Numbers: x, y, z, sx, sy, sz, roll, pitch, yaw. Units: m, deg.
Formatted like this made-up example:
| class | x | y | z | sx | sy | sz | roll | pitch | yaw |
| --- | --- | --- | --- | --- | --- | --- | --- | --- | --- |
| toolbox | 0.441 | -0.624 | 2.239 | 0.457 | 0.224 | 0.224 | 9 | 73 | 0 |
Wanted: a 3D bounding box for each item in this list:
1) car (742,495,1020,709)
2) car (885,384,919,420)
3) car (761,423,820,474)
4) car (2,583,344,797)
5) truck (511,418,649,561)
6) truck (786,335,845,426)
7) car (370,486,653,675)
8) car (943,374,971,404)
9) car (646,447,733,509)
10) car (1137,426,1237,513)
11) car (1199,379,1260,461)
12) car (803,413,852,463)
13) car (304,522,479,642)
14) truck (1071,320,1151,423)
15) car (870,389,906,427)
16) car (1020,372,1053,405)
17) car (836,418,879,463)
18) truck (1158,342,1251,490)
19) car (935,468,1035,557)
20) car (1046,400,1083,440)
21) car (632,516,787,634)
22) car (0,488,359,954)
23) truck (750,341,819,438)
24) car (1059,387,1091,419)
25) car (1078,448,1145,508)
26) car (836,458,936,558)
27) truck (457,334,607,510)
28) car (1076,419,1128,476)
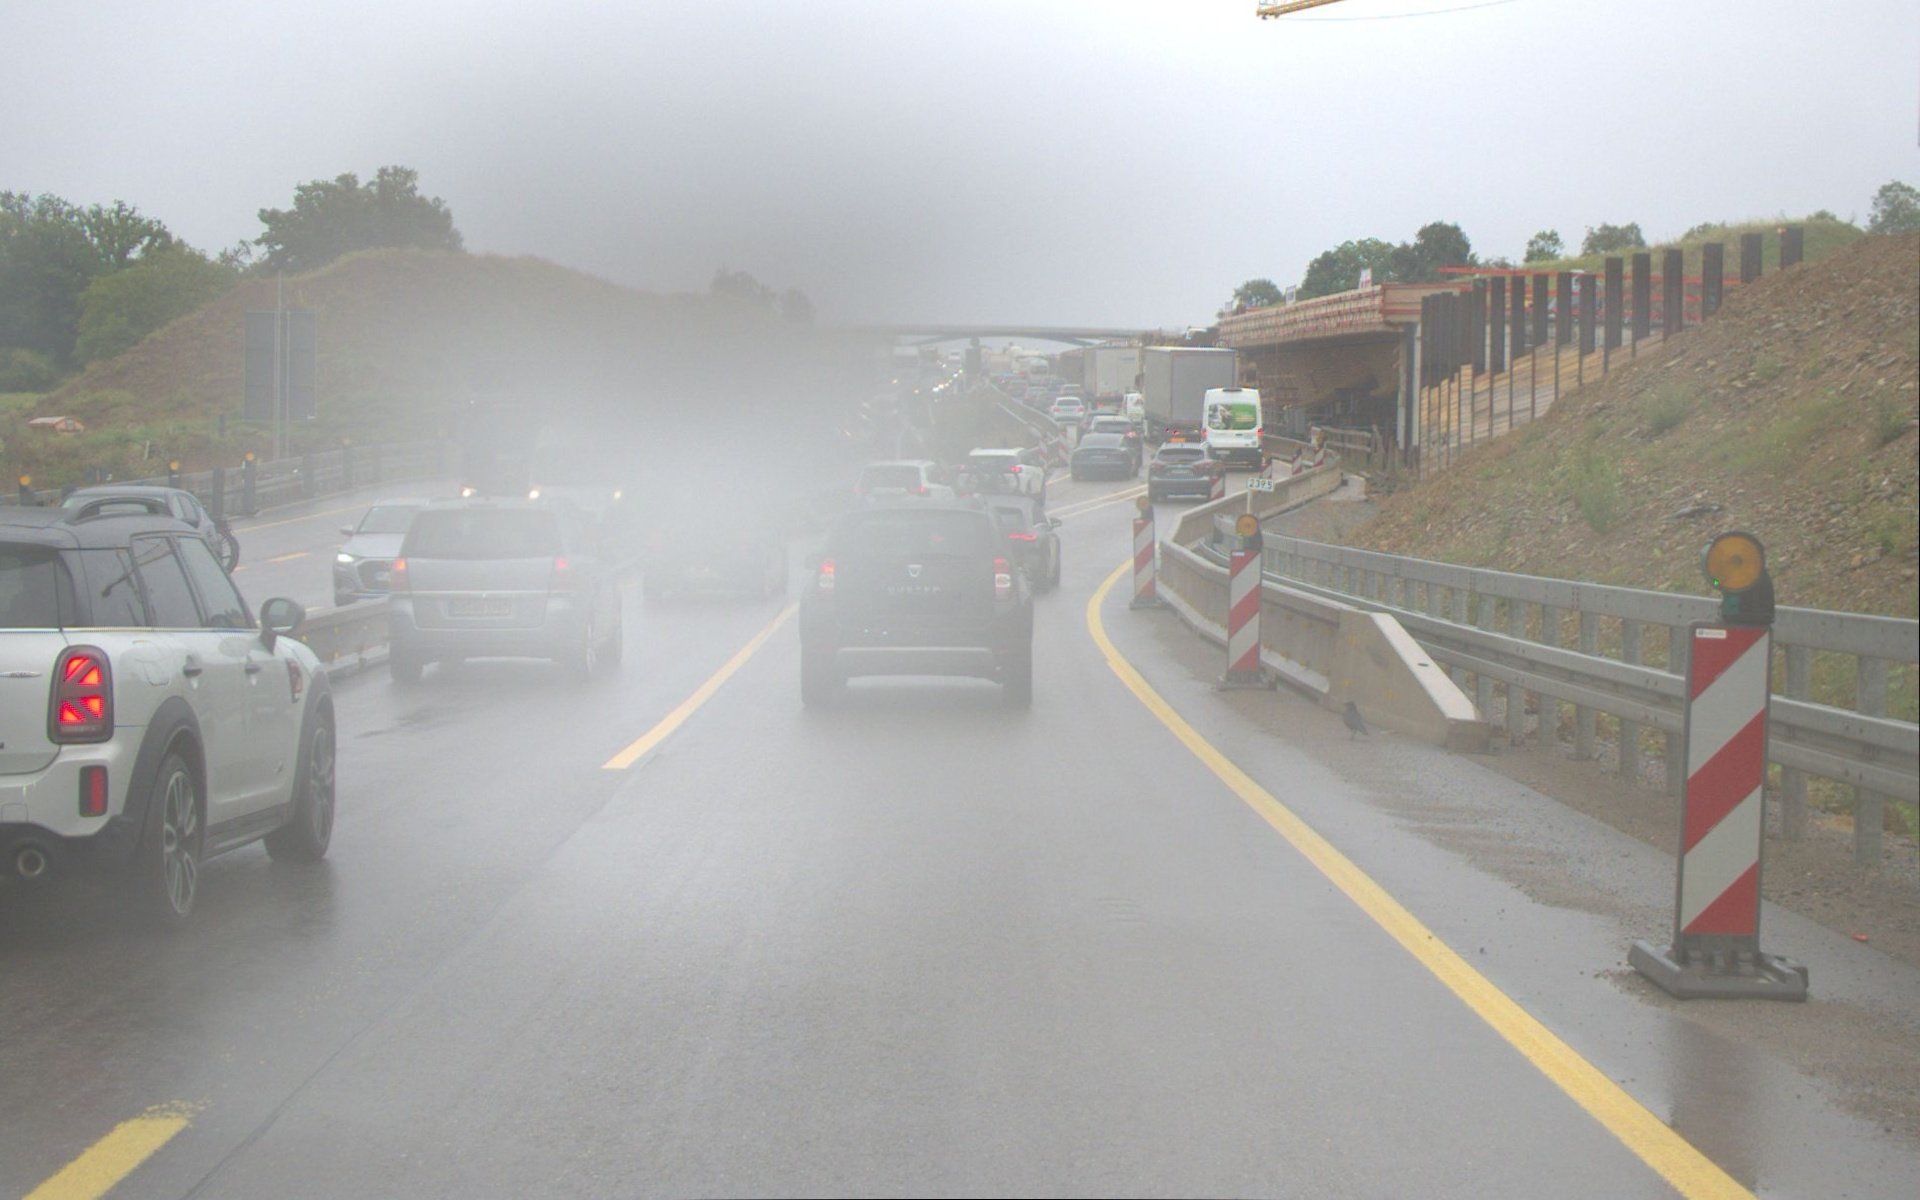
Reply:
| class | x | y | z | sx | sy | sz | roll | pitch | yaw |
| --- | --- | --- | --- | --- | --- | --- | --- | --- | --- |
| car | -0.578 | 0.009 | 27.888 | 2.081 | 1.595 | 4.140 | 0 | 0 | 0 |
| car | -4.094 | -13.995 | 243.081 | 2.217 | 2.362 | 4.664 | 1 | 2 | 1 |
| car | -5.774 | -5.178 | 117.546 | 1.737 | 1.678 | 5.552 | 1 | 2 | 0 |
| car | -6.239 | 0.662 | 27.708 | 1.787 | 1.533 | 4.312 | 0 | 1 | 0 |
| truck | -7.472 | -2.186 | 68.059 | 2.147 | 2.704 | 6.017 | 0 | 2 | -1 |
| truck | -9.020 | -13.697 | 215.592 | 3.142 | 5.399 | 8.524 | 1 | 2 | 1 |
| car | -3.987 | -0.171 | 31.217 | 1.993 | 1.595 | 4.140 | 0 | 0 | 0 |
| car | -0.233 | -15.729 | 256.866 | 1.993 | 2.007 | 4.000 | 0 | 0 | -1 |
| car | -6.595 | -2.985 | 84.117 | 1.868 | 1.466 | 4.671 | 0 | 2 | -1 |
| car | 6.104 | -3.465 | 92.094 | 1.995 | 2.155 | 4.138 | 0 | 0 | 14 |
| car | 9.026 | -5.984 | 114.961 | 1.994 | 2.476 | 4.981 | 0 | 0 | 5 |
| car | -5.307 | -6.473 | 137.647 | 1.785 | 1.803 | 4.499 | 0 | 0 | 0 |
| car | -7.590 | -0.282 | 46.241 | 1.676 | 1.518 | 4.345 | 0 | 2 | -1 |
| truck | 8.591 | -12.977 | 196.787 | 3.803 | 5.025 | 12.922 | 0 | 0 | -1 |
| car | -4.786 | -12.788 | 229.153 | 2.238 | 2.350 | 4.877 | 1 | 2 | 1 |
| car | 4.887 | -13.561 | 220.530 | 1.993 | 2.006 | 4.001 | 0 | 2 | 0 |
| car | -4.542 | -7.062 | 152.416 | 1.785 | 1.803 | 4.499 | 0 | 0 | 0 |
| truck | 9.779 | -7.202 | 136.621 | 3.102 | 5.407 | 9.440 | 0 | 0 | 7 |
| car | 0.660 | -2.187 | 86.892 | 1.994 | 2.155 | 4.139 | 0 | 0 | 8 |
| car | 5.424 | -9.381 | 179.278 | 1.849 | 1.887 | 4.021 | 0 | 0 | 1 |
| car | -3.489 | -0.341 | 48.549 | 1.993 | 1.595 | 4.141 | 0 | 0 | -2 |
| car | -3.677 | 0.385 | 13.924 | 1.816 | 1.595 | 4.308 | 0 | 1 | -1 |
| truck | -9.277 | -11.141 | 182.709 | 3.083 | 4.902 | 8.564 | 1 | 2 | 1 |
| car | 7.849 | -13.448 | 235.011 | 1.993 | 2.007 | 4.000 | 0 | 0 | -1 |
| car | 4.709 | -3.787 | 107.226 | 1.993 | 1.755 | 3.814 | 0 | 0 | 1 |
| car | -1.515 | -1.902 | 71.051 | 1.993 | 2.007 | 3.894 | 0 | 2 | -1 |
| truck | -10.121 | -4.227 | 82.169 | 2.641 | 3.956 | 9.215 | 0 | 3 | -1 |
| car | 5.852 | -6.281 | 142.048 | 1.993 | 2.155 | 4.140 | 0 | 0 | 0 |
